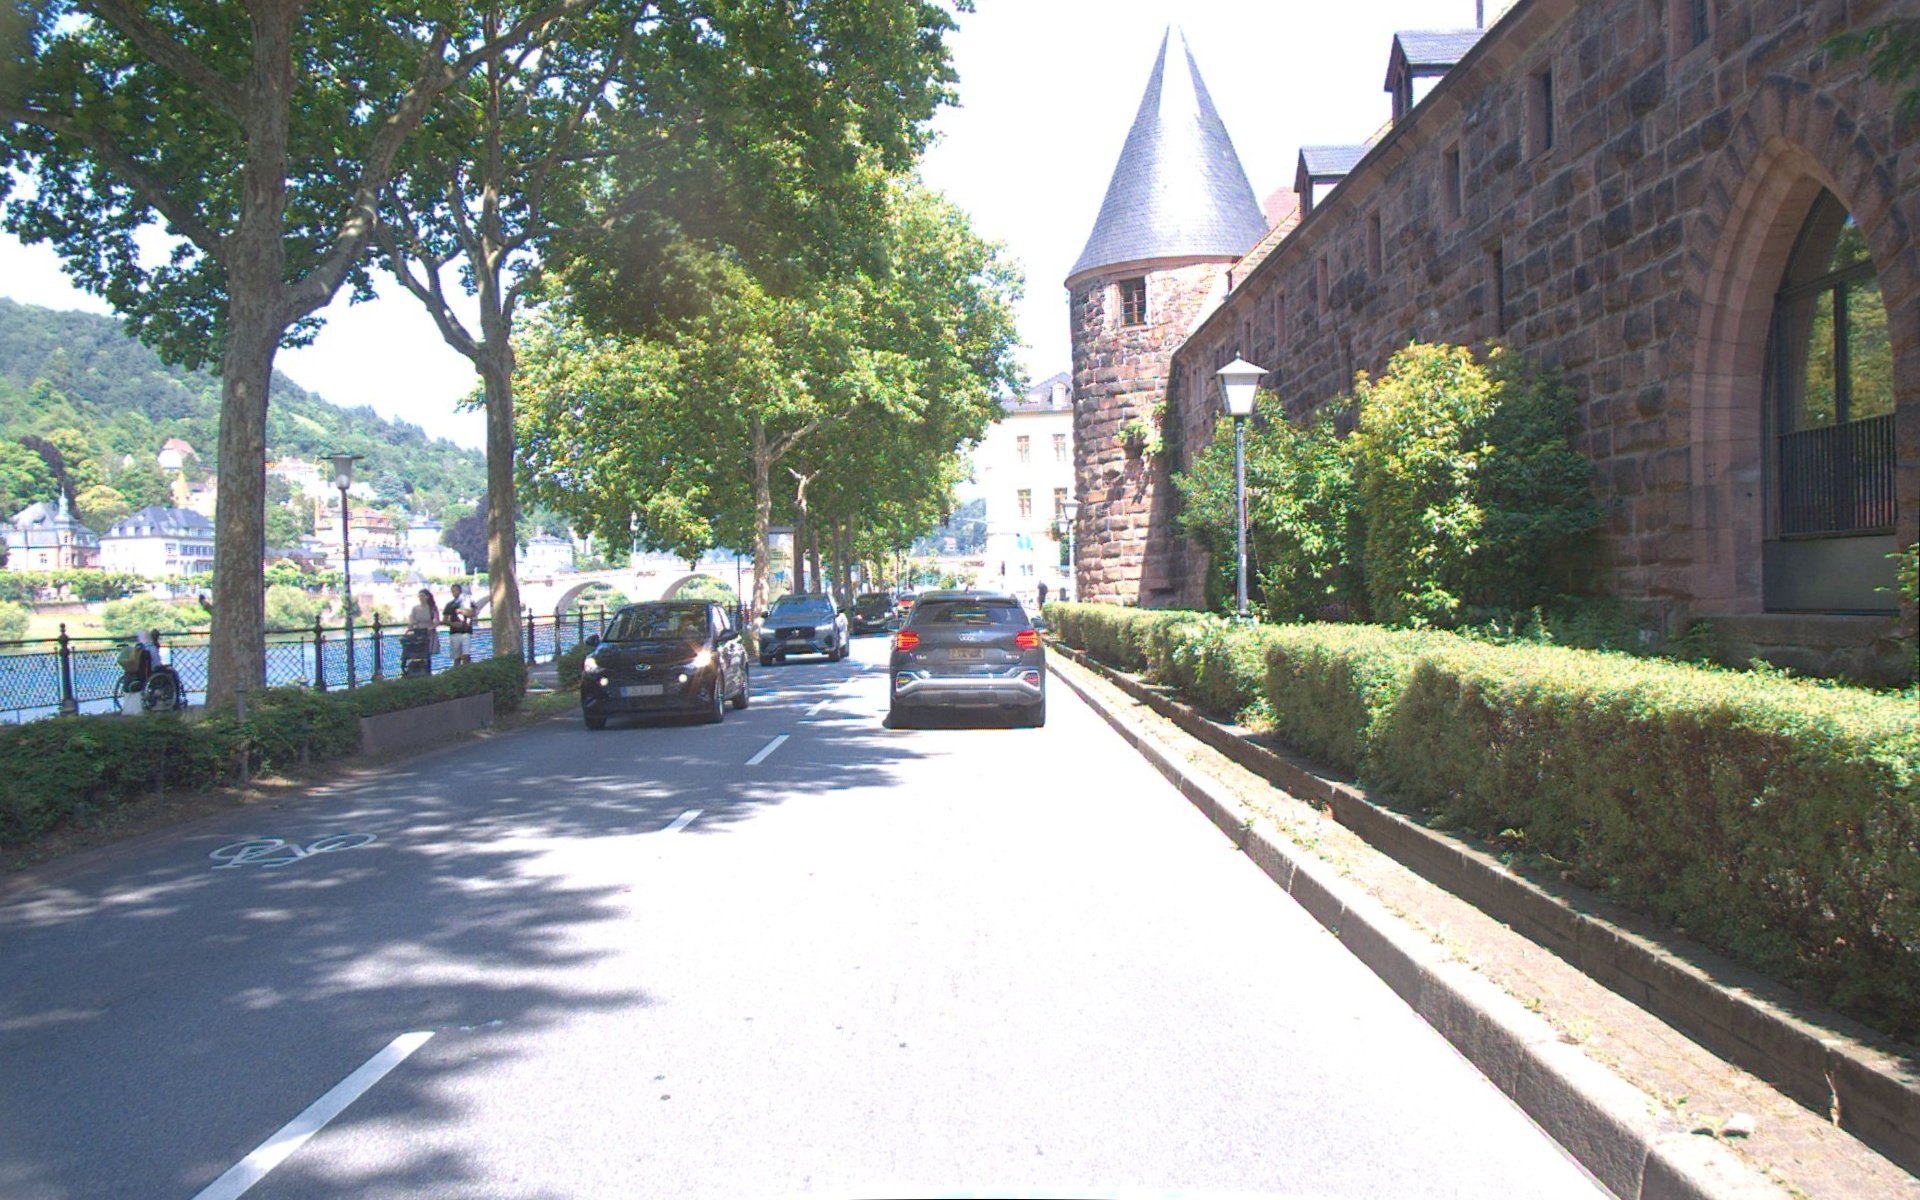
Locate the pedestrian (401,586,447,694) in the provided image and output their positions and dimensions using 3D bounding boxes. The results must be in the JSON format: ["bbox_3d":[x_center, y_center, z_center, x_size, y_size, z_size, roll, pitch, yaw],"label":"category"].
[{"bbox_3d":[-9.130,0.669,28.200,0.506,1.799,0.592,-2,0,0],"label":"pedestrian"}]

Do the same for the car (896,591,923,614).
[{"bbox_3d":[-3.485,0.177,114.736,1.581,1.549,3.477,-1,0,2],"label":"car"}]

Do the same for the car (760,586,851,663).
[{"bbox_3d":[-3.683,0.557,39.989,1.839,1.728,4.258,-1,0,-1],"label":"car"}]

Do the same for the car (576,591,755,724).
[{"bbox_3d":[-3.633,0.652,20.967,1.616,1.495,3.779,-1,0,-1],"label":"car"}]

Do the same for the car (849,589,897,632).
[{"bbox_3d":[-3.539,0.395,67.907,1.727,1.676,4.090,-1,0,0],"label":"car"}]

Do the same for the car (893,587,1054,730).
[{"bbox_3d":[0.109,0.617,19.484,1.712,1.521,3.628,0,0,-1],"label":"car"}]

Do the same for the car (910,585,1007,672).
[{"bbox_3d":[-0.008,0.523,32.636,1.764,1.590,3.716,-1,0,1],"label":"car"}]

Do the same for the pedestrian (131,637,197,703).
[{"bbox_3d":[-11.441,1.001,23.786,0.595,0.899,0.705,-1,0,-1],"label":"pedestrian"}]

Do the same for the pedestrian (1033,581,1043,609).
[{"bbox_3d":[4.491,-0.286,95.212,0.545,1.661,0.660,0,0,1],"label":"pedestrian"}]

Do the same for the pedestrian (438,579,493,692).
[{"bbox_3d":[-8.526,0.601,28.528,0.628,1.902,0.806,-2,0,0],"label":"pedestrian"}]

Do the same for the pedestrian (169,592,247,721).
[{"bbox_3d":[-10.491,0.774,23.084,0.679,1.747,0.874,1,0,-2],"label":"pedestrian"}]
